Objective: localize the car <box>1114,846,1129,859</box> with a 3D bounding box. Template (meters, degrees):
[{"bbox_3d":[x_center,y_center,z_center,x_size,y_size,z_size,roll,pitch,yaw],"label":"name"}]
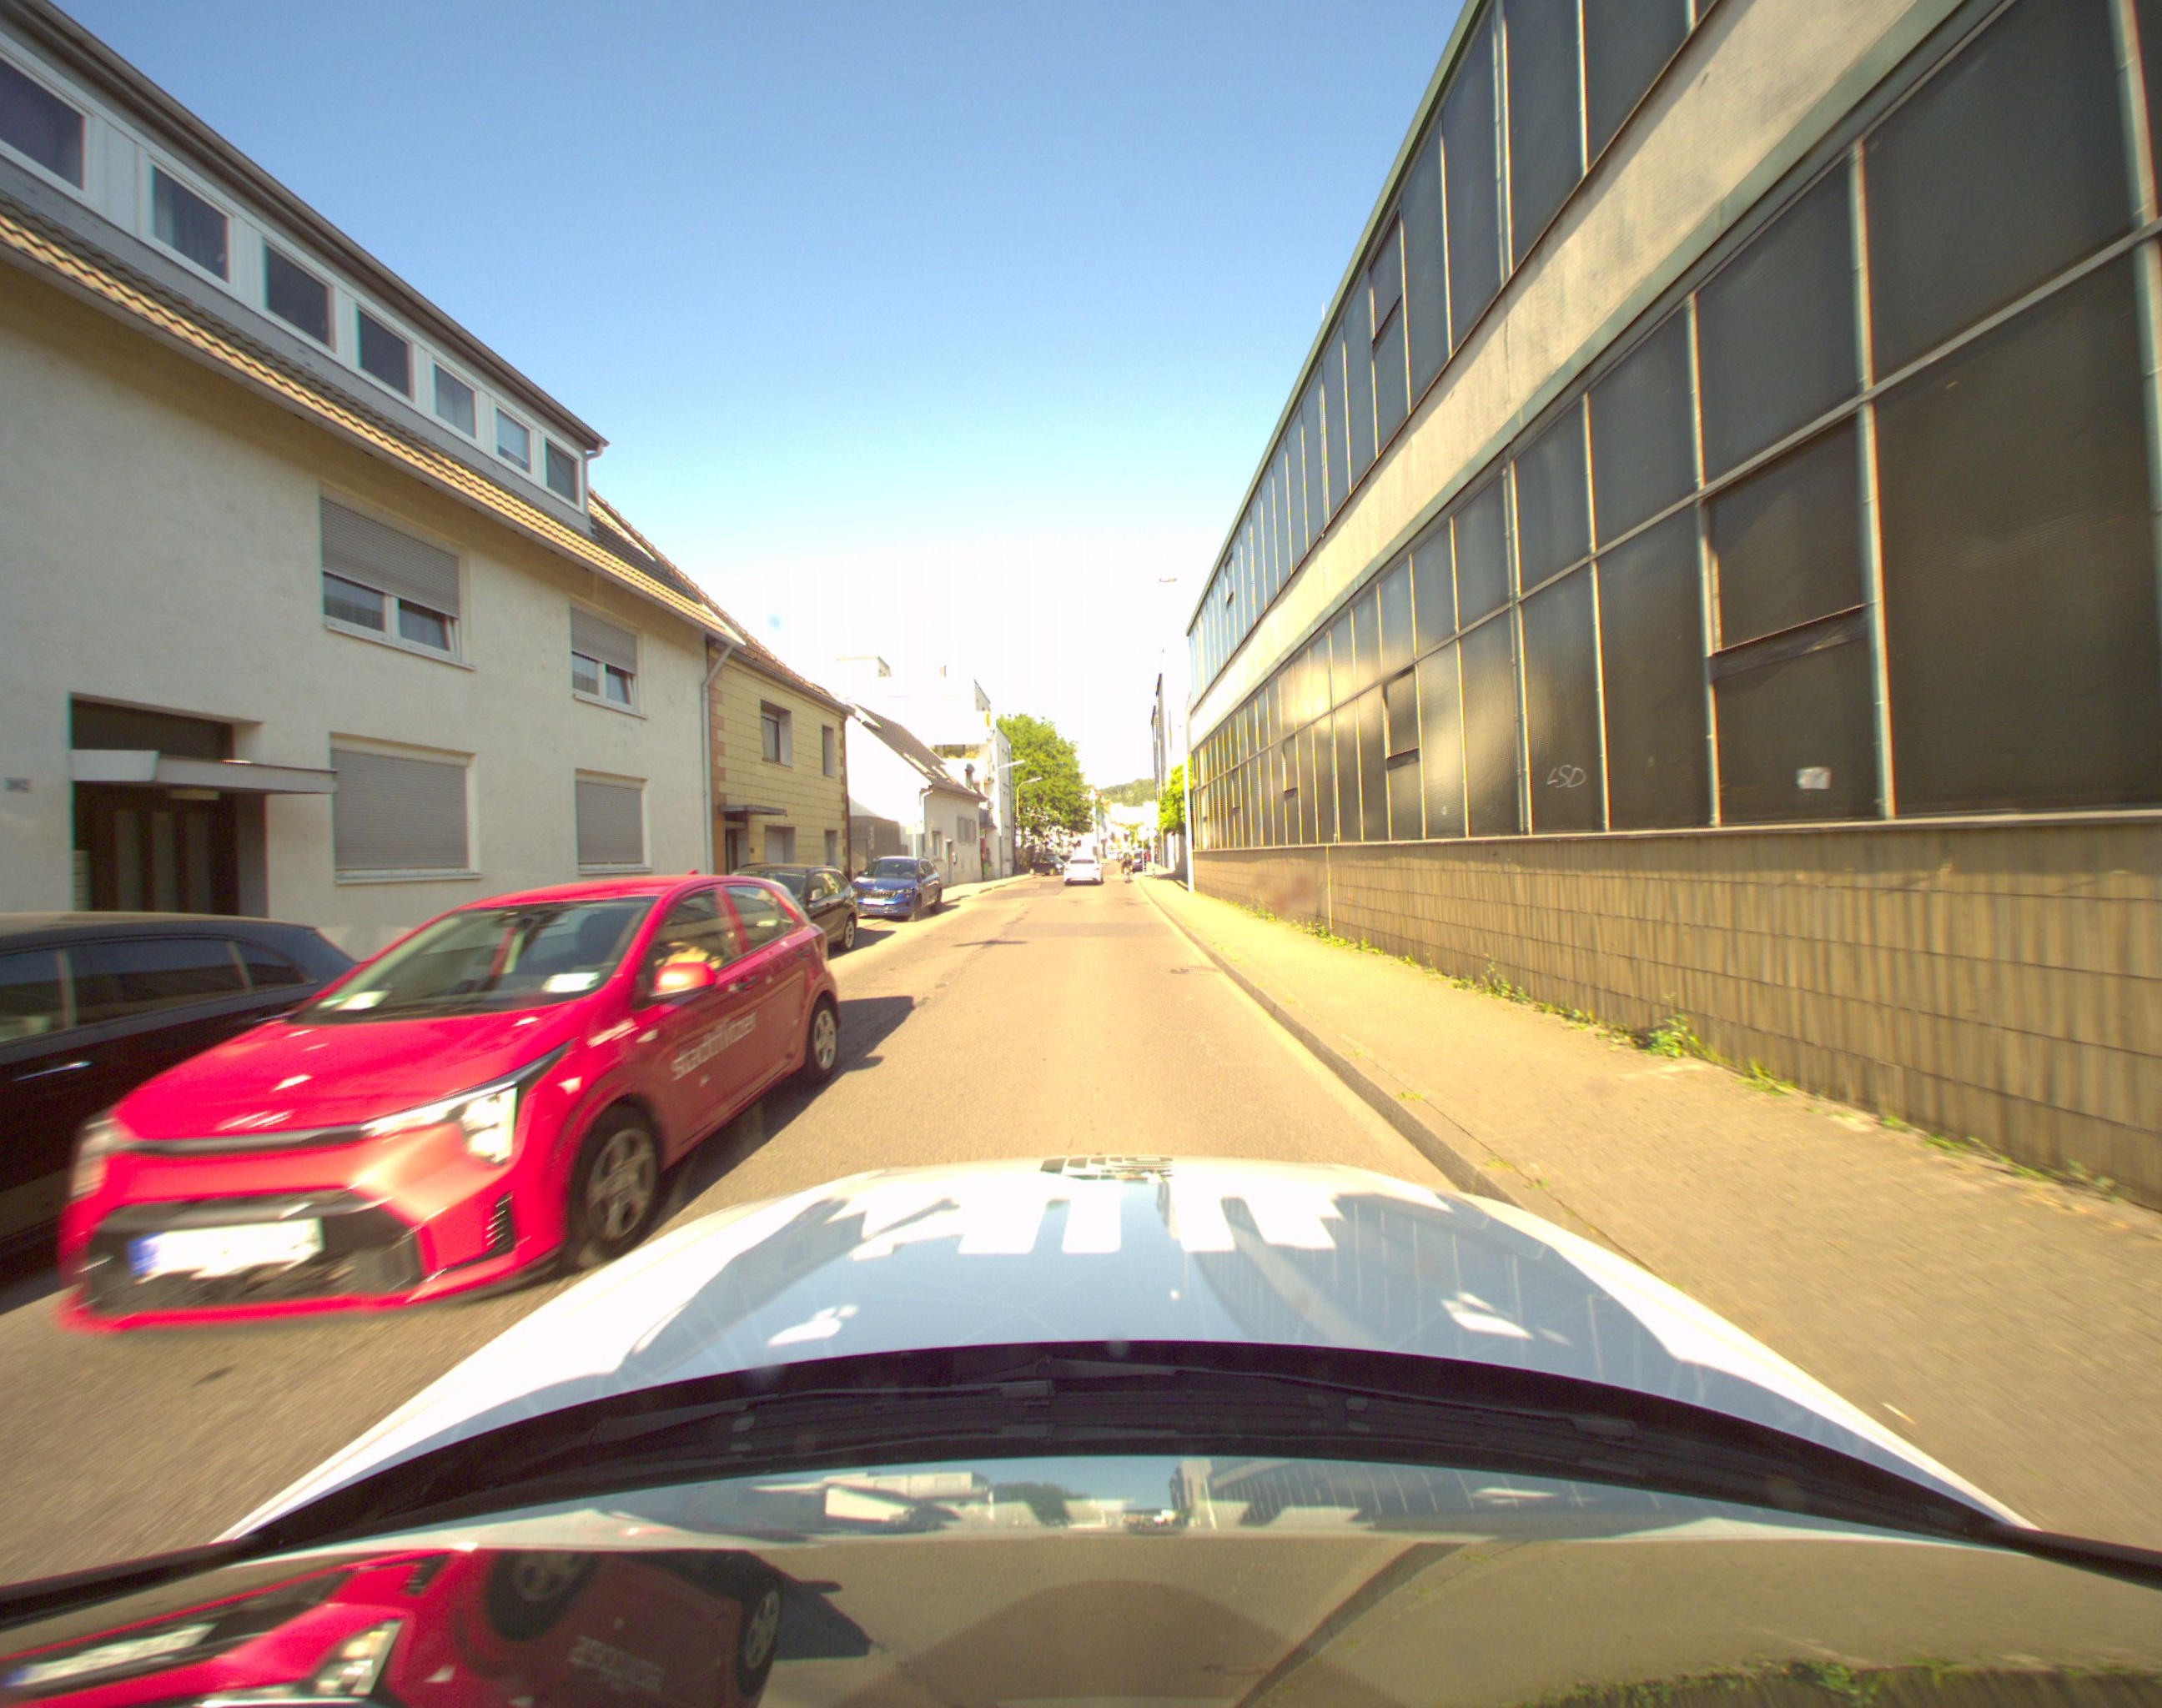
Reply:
[{"bbox_3d":[5.989,-0.196,120.763,1.847,1.791,4.606,-1,0,0],"label":"car"}]

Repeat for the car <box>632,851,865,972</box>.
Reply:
[{"bbox_3d":[-5.086,0.769,13.199,1.850,1.587,4.338,0,1,2],"label":"car"}]

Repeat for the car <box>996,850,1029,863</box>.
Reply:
[{"bbox_3d":[-8.759,0.349,104.519,3.880,1.575,1.713,-1,0,6],"label":"car"}]

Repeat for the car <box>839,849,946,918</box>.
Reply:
[{"bbox_3d":[-4.939,0.707,21.909,1.802,1.587,4.194,0,1,1],"label":"car"}]

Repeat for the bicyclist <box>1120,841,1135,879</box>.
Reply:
[{"bbox_3d":[2.239,0.285,39.650,0.695,1.790,1.041,-1,-1,3],"label":"bicyclist"}]

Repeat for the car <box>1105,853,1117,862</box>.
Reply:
[{"bbox_3d":[5.652,0.675,151.249,1.936,1.587,4.628,-4,-1,5],"label":"car"}]

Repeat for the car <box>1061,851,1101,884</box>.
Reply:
[{"bbox_3d":[0.031,0.635,39.496,1.836,1.491,4.144,-1,-1,1],"label":"car"}]

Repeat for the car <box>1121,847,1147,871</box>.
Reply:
[{"bbox_3d":[3.831,0.374,59.619,1.624,1.587,4.070,-4,-1,1],"label":"car"}]

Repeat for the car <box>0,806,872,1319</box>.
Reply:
[{"bbox_3d":[-2.710,0.654,4.614,1.836,1.491,4.144,-4,0,1],"label":"car"}]

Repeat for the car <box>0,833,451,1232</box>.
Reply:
[{"bbox_3d":[-4.998,0.685,3.255,1.680,1.535,4.331,0,-1,-2],"label":"car"}]

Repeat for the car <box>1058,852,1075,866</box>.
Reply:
[{"bbox_3d":[-1.682,0.517,95.640,1.698,1.575,3.915,-1,0,1],"label":"car"}]

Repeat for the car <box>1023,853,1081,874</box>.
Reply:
[{"bbox_3d":[-2.221,0.739,61.717,4.090,1.491,1.860,-1,-1,39],"label":"car"}]

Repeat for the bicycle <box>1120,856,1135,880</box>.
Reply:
[{"bbox_3d":[2.247,0.674,39.610,0.695,1.130,2.404,-1,-1,3],"label":"bicycle"}]
